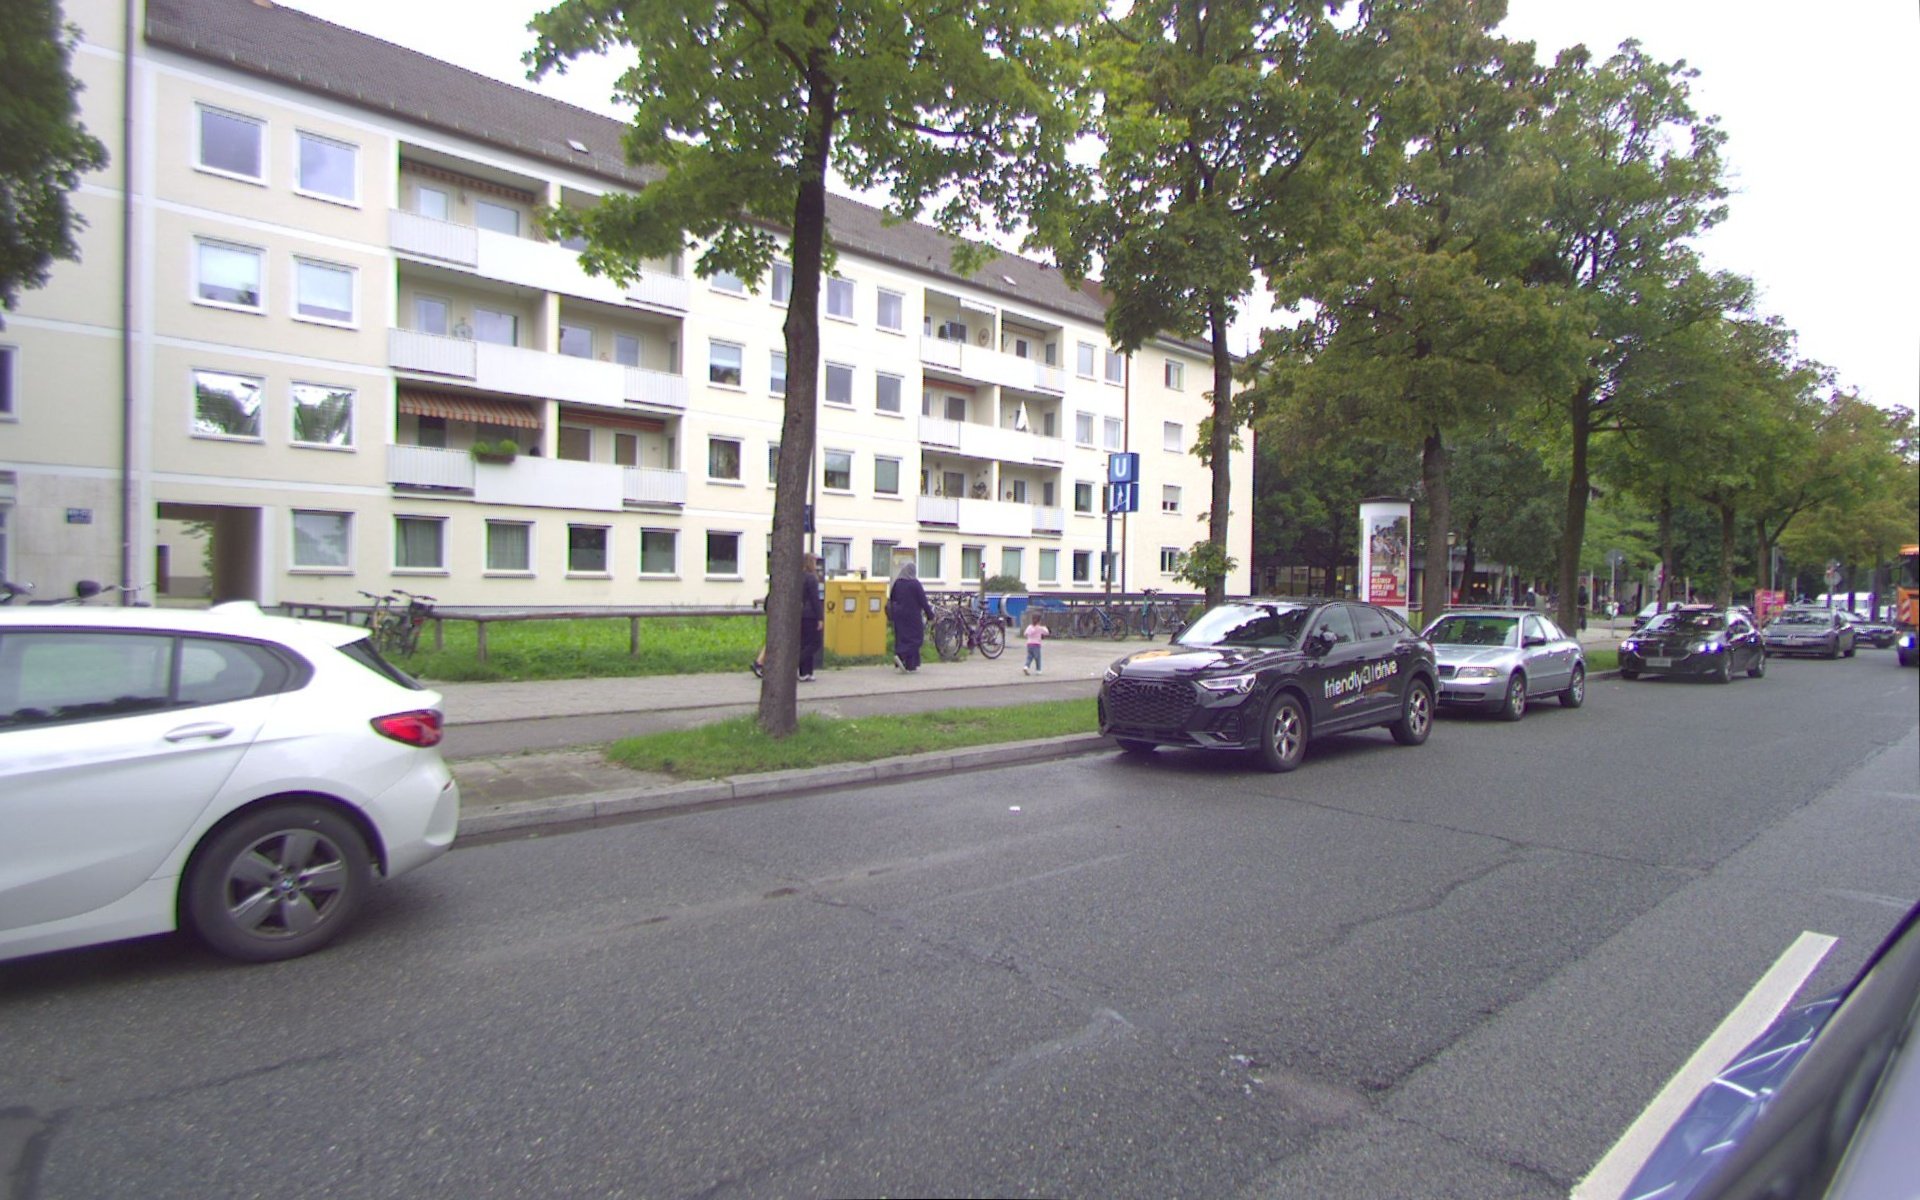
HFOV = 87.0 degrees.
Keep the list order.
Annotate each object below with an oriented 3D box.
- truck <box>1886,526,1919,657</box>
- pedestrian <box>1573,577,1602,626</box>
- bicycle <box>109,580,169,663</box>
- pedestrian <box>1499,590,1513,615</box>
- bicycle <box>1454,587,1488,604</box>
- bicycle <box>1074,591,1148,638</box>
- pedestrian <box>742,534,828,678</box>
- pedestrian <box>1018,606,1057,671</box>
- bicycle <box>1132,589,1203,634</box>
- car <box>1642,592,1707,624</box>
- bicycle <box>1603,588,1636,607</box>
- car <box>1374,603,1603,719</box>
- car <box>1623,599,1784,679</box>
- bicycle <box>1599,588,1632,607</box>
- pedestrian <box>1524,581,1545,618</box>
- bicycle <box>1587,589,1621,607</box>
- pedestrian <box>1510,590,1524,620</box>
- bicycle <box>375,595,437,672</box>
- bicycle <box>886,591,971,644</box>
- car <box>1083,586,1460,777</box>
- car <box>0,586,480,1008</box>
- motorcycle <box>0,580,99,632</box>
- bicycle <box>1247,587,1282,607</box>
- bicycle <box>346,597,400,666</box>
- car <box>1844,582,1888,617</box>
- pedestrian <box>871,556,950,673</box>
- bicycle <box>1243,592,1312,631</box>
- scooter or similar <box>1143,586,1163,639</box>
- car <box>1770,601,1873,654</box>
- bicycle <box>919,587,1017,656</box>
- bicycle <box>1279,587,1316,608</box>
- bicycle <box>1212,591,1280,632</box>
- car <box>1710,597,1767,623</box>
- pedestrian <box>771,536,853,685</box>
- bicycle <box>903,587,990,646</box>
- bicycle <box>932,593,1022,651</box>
[{"bbox_3d":[27.682,-0.201,27.161,8.970,3.229,3.045,0,0,-40],"label":"truck"},{"bbox_3d":[23.278,0.059,37.531,0.834,1.771,0.640,1,2,-42],"label":"pedestrian"},{"bbox_3d":[-10.151,0.243,12.531,0.548,0.951,1.881,0,0,-39],"label":"bicycle"},{"bbox_3d":[35.971,0.163,66.650,0.624,1.561,0.657,3,2,19],"label":"pedestrian"},{"bbox_3d":[35.591,-0.329,70.495,0.447,1.134,2.079,1,1,-40],"label":"bicycle"},{"bbox_3d":[3.622,0.334,24.439,0.425,1.041,1.880,0,2,-43],"label":"bicycle"},{"bbox_3d":[-2.427,0.064,14.022,0.903,1.913,0.730,0,1,-42],"label":"pedestrian"},{"bbox_3d":[1.191,0.589,15.635,0.427,0.961,0.408,0,1,-42],"label":"pedestrian"},{"bbox_3d":[5.325,0.281,26.098,0.425,1.041,1.880,0,2,-43],"label":"bicycle"},{"bbox_3d":[39.113,0.430,55.345,4.122,1.654,1.826,0,2,-39],"label":"car"},{"bbox_3d":[57.982,-0.199,88.959,0.638,1.643,2.312,1,1,-40],"label":"bicycle"},{"bbox_3d":[7.548,0.747,14.263,4.174,1.403,1.637,0,0,-44],"label":"car"},{"bbox_3d":[15.311,0.728,20.775,4.102,1.484,1.754,0,0,-40],"label":"car"},{"bbox_3d":[57.261,-0.226,88.435,0.638,1.643,2.312,1,1,-40],"label":"bicycle"},{"bbox_3d":[27.295,-0.012,48.056,0.629,1.752,0.601,0,0,-2],"label":"pedestrian"},{"bbox_3d":[55.529,-0.170,87.272,0.638,1.551,2.312,1,1,-40],"label":"bicycle"},{"bbox_3d":[29.665,0.267,53.874,0.574,1.594,0.775,0,0,23],"label":"pedestrian"},{"bbox_3d":[-7.613,0.427,13.874,0.425,0.986,1.881,0,0,-39],"label":"bicycle"},{"bbox_3d":[-0.635,0.350,20.843,1.850,1.041,0.432,1,1,-40],"label":"bicycle"},{"bbox_3d":[3.300,0.673,10.295,4.200,1.552,1.719,0,-1,-41],"label":"car"},{"bbox_3d":[-4.264,0.710,3.915,4.066,1.484,1.684,0,-1,-42],"label":"car"},{"bbox_3d":[-18.690,0.114,20.512,1.873,1.036,0.605,0,0,-41],"label":"motorcycle"},{"bbox_3d":[15.453,-0.158,51.376,0.448,0.983,1.693,1,1,-44],"label":"bicycle"},{"bbox_3d":[-8.941,0.444,15.384,0.425,0.986,1.881,0,0,-39],"label":"bicycle"},{"bbox_3d":[72.854,-0.022,81.353,5.901,2.691,1.976,0,-1,-41],"label":"car"},{"bbox_3d":[-0.745,0.191,15.257,0.820,1.702,0.840,0,1,-42],"label":"pedestrian"},{"bbox_3d":[9.176,0.311,29.267,1.876,1.041,0.426,3,2,42],"label":"bicycle"},{"bbox_3d":[4.669,0.283,24.540,0.352,1.215,1.388,1,2,7],"label":"scooter or similar"},{"bbox_3d":[25.521,0.768,29.944,4.041,1.484,1.685,0,0,-40],"label":"car"},{"bbox_3d":[0.161,0.367,17.779,1.850,1.147,0.432,1,1,-40],"label":"bicycle"},{"bbox_3d":[16.706,-0.139,50.105,0.448,0.983,1.693,1,1,-44],"label":"bicycle"},{"bbox_3d":[8.031,0.311,28.456,0.425,1.041,1.880,0,2,-43],"label":"bicycle"},{"bbox_3d":[49.310,0.616,64.065,4.519,1.550,1.826,0,2,-39],"label":"car"},{"bbox_3d":[-1.970,0.119,13.519,0.886,1.913,0.589,0,1,-42],"label":"pedestrian"},{"bbox_3d":[-0.254,0.317,20.242,1.850,1.115,0.432,1,1,-40],"label":"bicycle"},{"bbox_3d":[0.341,0.410,19.130,1.850,1.041,0.432,1,1,-40],"label":"bicycle"}]
